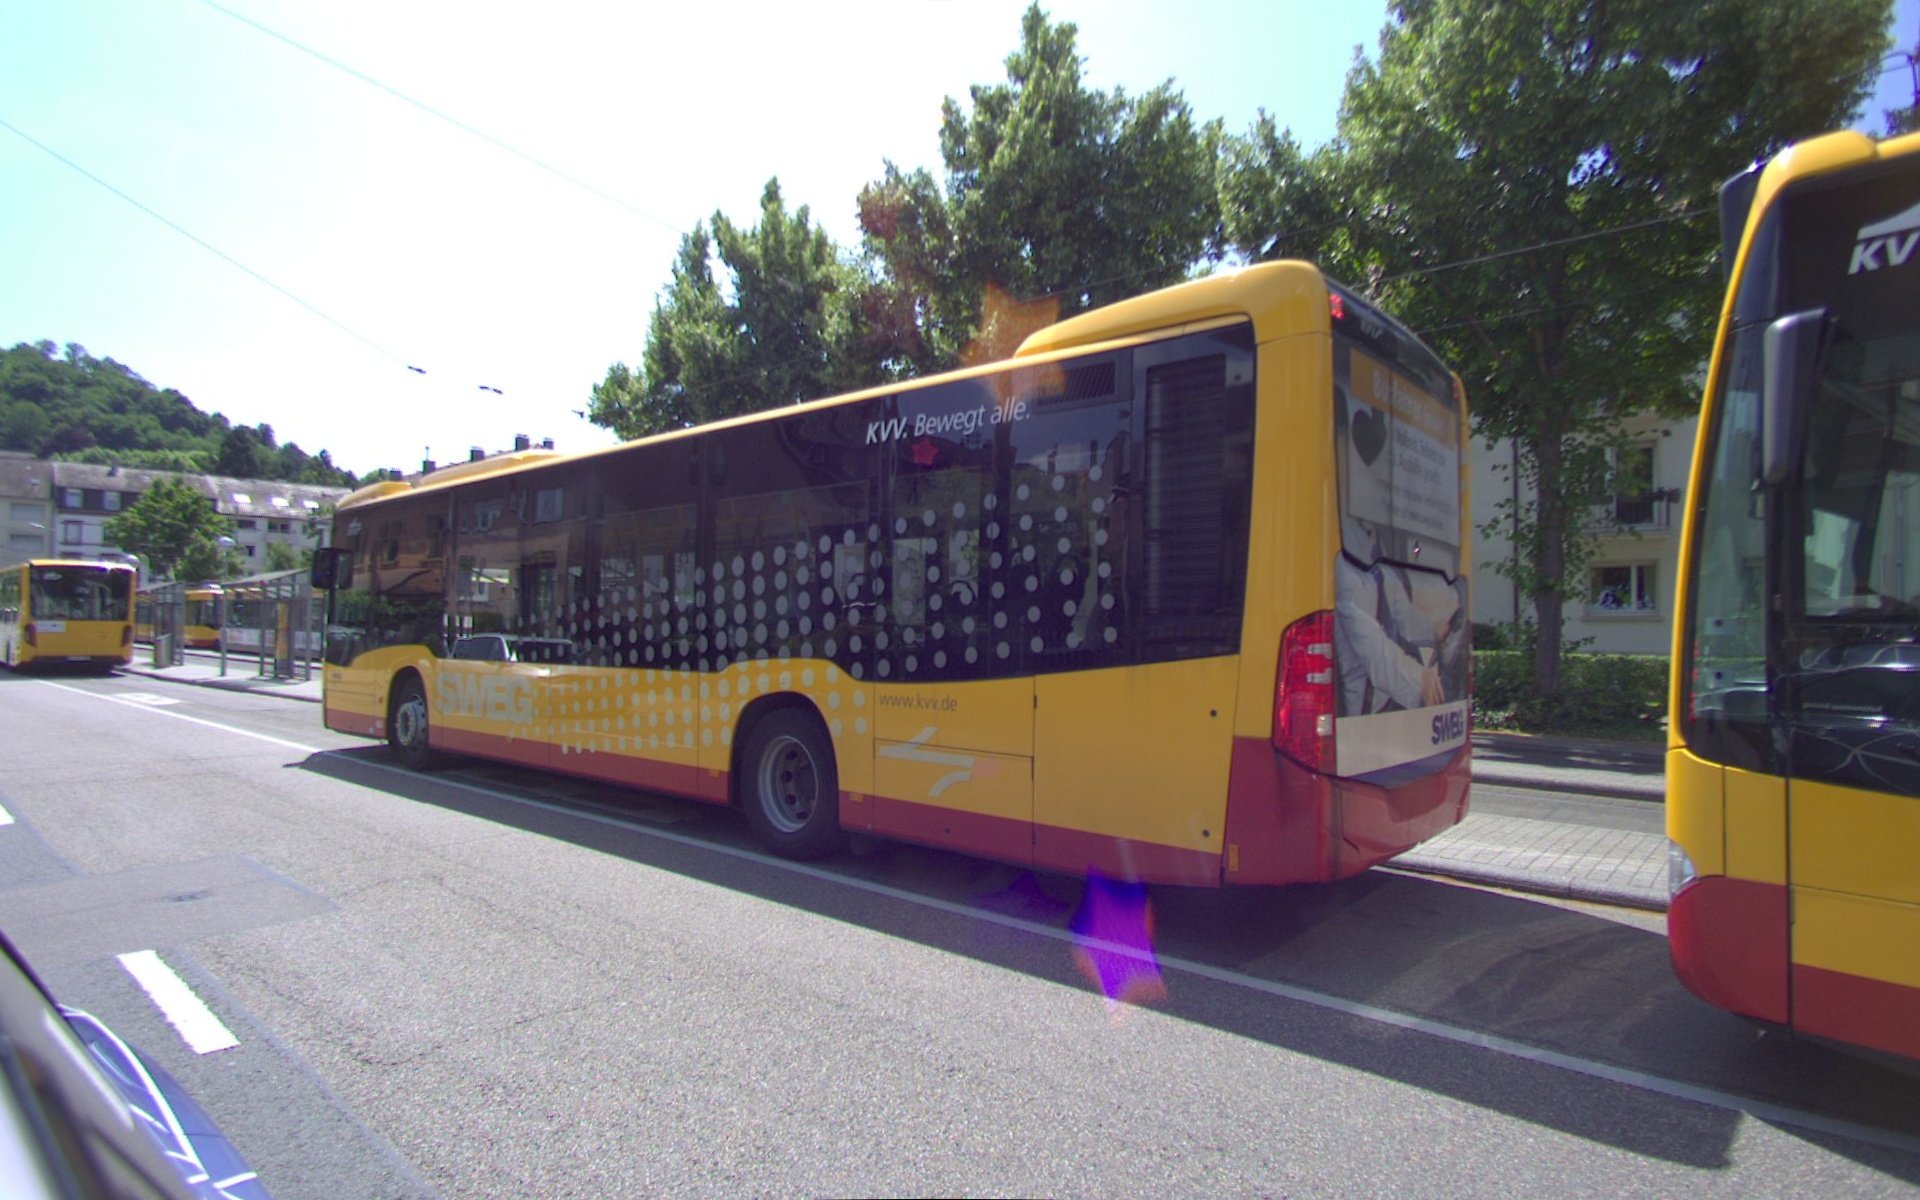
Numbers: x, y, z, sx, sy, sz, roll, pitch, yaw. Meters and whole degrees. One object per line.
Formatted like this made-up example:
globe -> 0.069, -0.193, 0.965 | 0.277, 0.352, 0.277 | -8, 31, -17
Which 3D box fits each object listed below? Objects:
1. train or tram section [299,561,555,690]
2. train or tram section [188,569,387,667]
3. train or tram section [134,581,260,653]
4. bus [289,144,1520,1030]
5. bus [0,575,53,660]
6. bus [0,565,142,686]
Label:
train or tram section -> -18.622, 0.763, 34.530 | 13.988, 3.670, 2.932 | -1, 0, 41
train or tram section -> -30.174, 0.721, 44.742 | 17.344, 3.670, 2.932 | -1, 0, 41
train or tram section -> -41.336, 0.864, 54.589 | 12.651, 3.521, 2.932 | -1, 0, 41
bus -> -2.229, -0.019, 8.811 | 12.111, 3.272, 2.877 | -1, 0, 41
bus -> -43.764, 0.847, 45.574 | 12.032, 3.453, 2.878 | -2, -1, 41
bus -> -29.390, 0.610, 32.551 | 12.193, 3.272, 2.867 | 1, 1, 42
